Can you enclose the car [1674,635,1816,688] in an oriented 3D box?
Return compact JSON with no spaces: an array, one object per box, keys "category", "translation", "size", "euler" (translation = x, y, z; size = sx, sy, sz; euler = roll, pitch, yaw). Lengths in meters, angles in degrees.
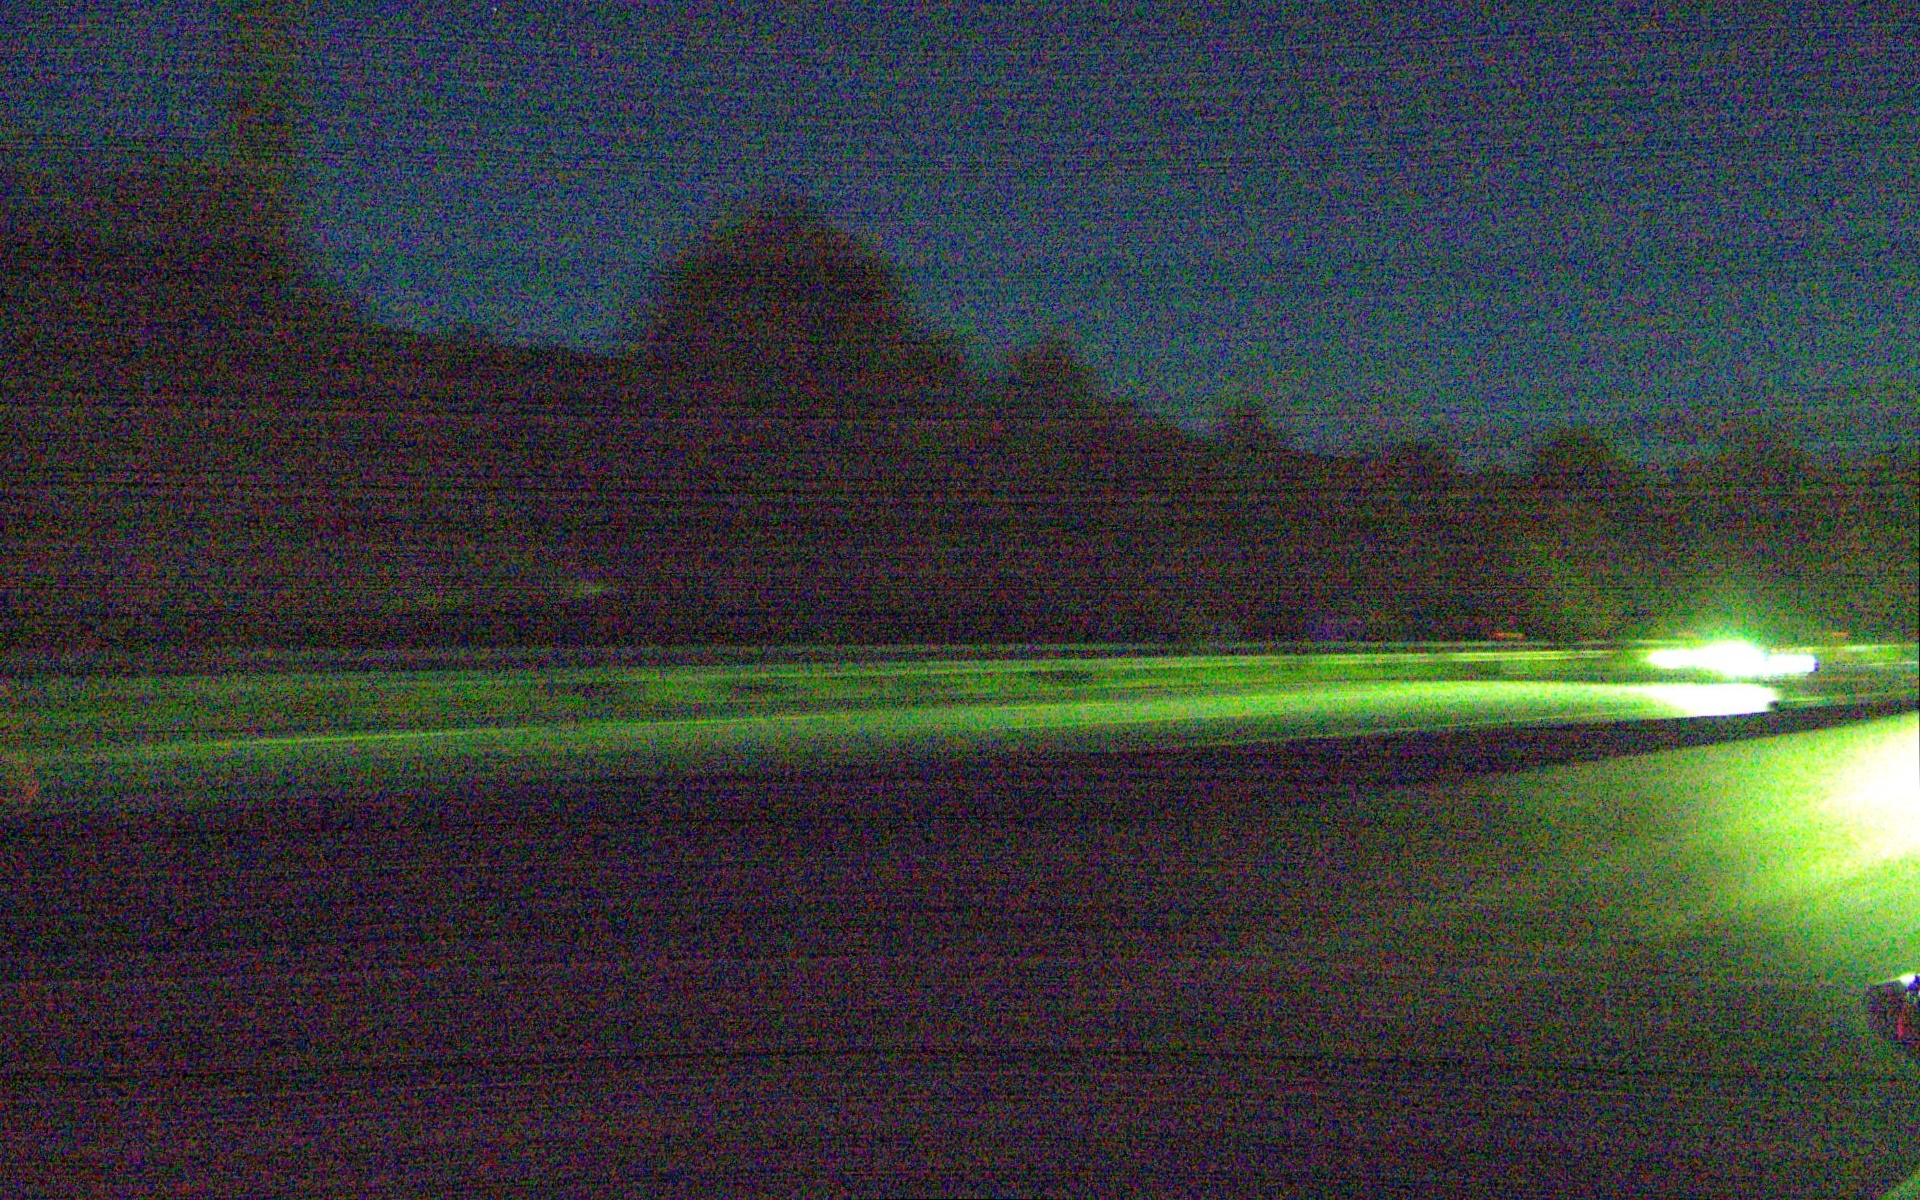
[{"category":"car","translation":[23.800,1.807,30.416],"size":[4.886,1.498,1.742],"euler":[1,-3,-31]}]
